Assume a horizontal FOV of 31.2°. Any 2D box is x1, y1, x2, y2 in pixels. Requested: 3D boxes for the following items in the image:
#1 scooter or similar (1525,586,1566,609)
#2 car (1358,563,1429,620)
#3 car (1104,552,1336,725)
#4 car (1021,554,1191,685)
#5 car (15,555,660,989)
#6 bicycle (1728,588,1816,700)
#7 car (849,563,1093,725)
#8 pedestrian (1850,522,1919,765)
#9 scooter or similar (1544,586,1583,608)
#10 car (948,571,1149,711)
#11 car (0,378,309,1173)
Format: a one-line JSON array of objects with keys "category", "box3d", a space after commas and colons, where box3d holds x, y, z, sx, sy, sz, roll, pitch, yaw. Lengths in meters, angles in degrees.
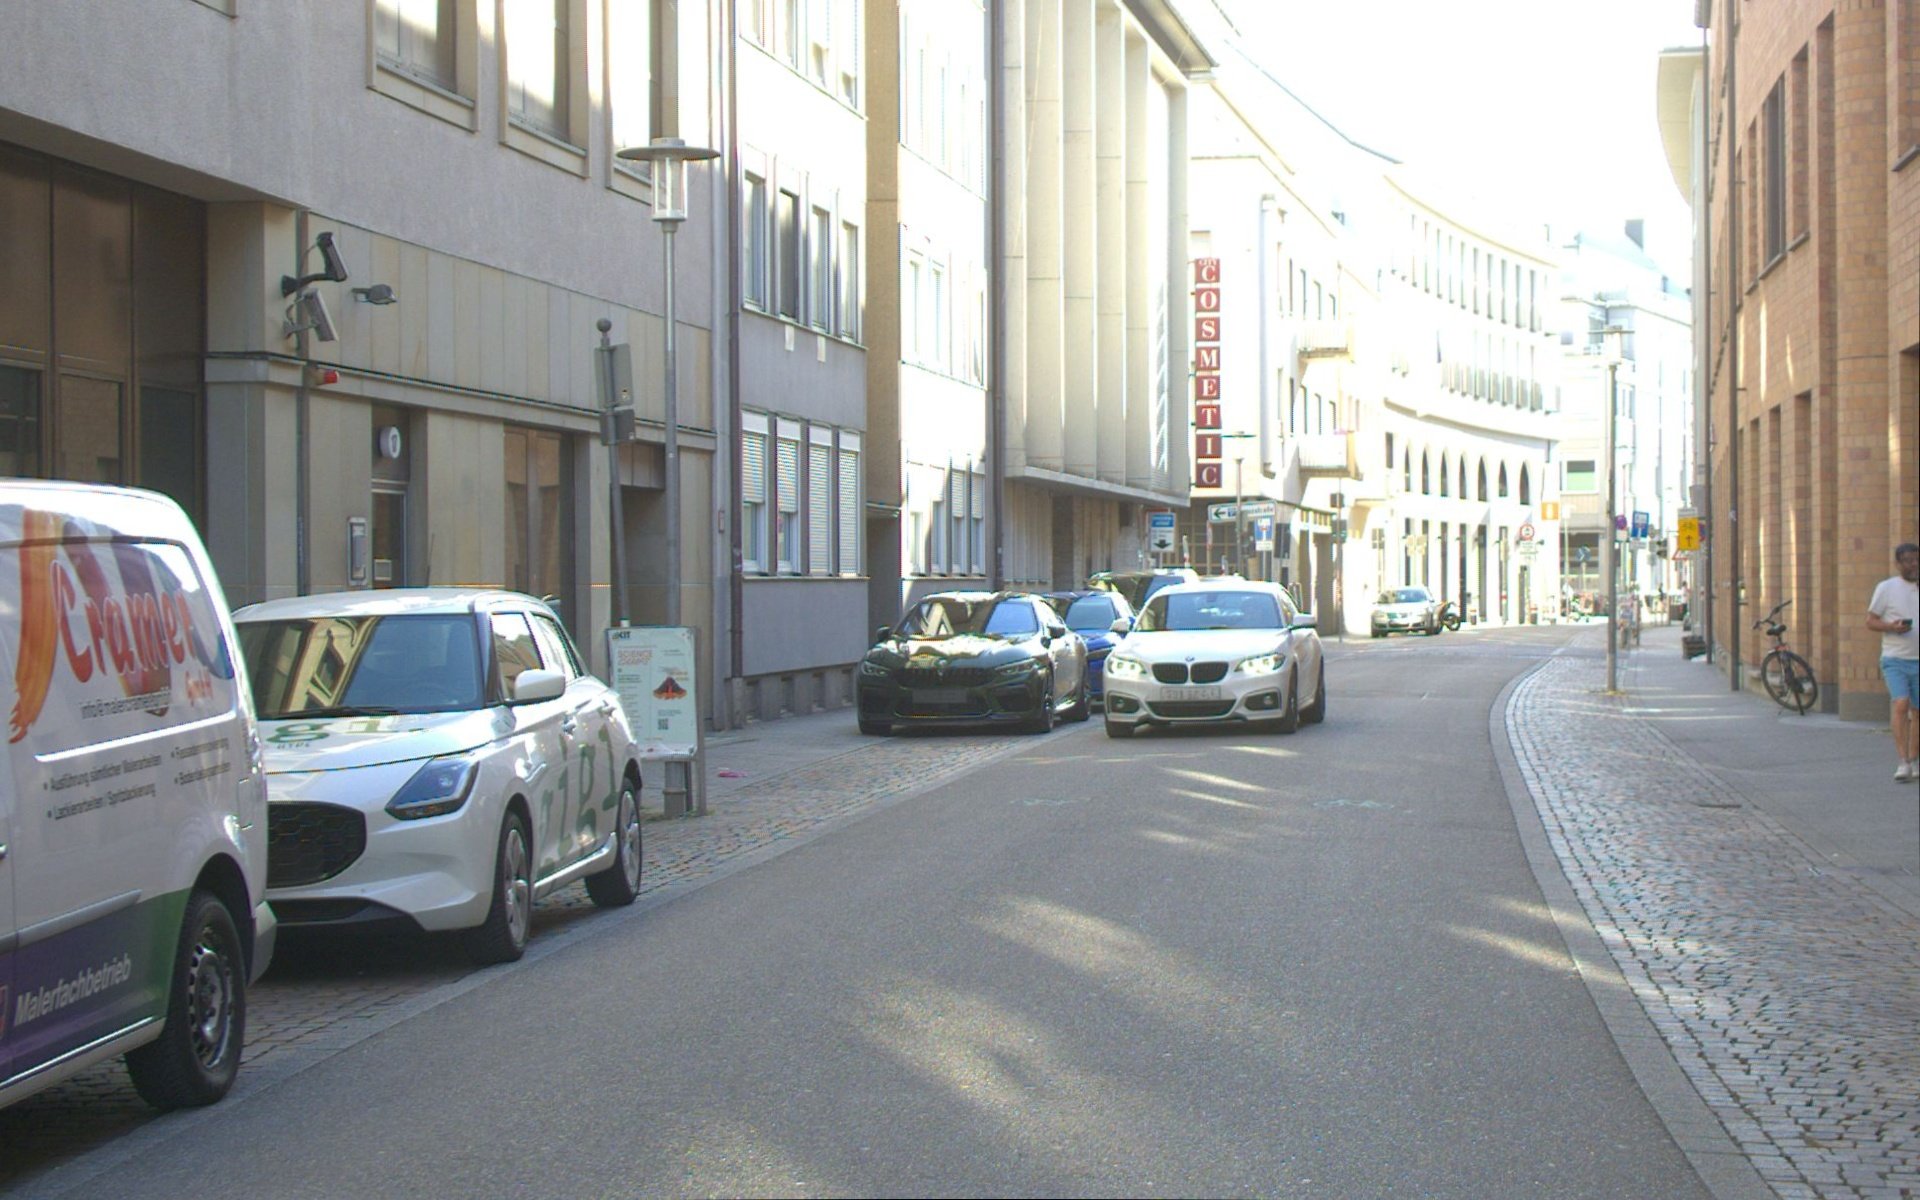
[{"category": "scooter or similar", "box3d": [23.728, -0.106, 139.282, 0.526, 0.925, 2.222, 0, 0, 41]}, {"category": "car", "box3d": [12.557, -0.245, 99.424, 1.737, 1.600, 3.531, 0, 0, 12]}, {"category": "car", "box3d": [2.545, 0.340, 32.809, 1.715, 1.512, 4.158, -1, 0, 11]}, {"category": "car", "box3d": [2.053, 0.254, 47.083, 1.890, 1.670, 4.552, -1, 0, 8]}, {"category": "car", "box3d": [-2.461, 0.634, 14.522, 1.670, 1.517, 3.775, -3, 0, 5]}, {"category": "bicycle", "box3d": [8.445, 0.440, 35.796, 0.550, 1.099, 1.982, -4, 0, 5]}, {"category": "car", "box3d": [0.192, 0.420, 35.315, 1.890, 1.525, 4.727, -1, 0, 8]}, {"category": "pedestrian", "box3d": [6.893, 0.297, 24.782, 0.760, 1.710, 0.821, -3, 0, 7]}, {"category": "scooter or similar", "box3d": [25.233, -0.126, 143.657, 0.526, 0.925, 2.222, 0, 0, 41]}, {"category": "car", "box3d": [1.104, 0.455, 40.549, 1.890, 1.525, 4.338, -1, 0, 8]}, {"category": "car", "box3d": [-3.184, 0.435, 8.215, 1.899, 1.851, 4.733, -2, 0, 5]}]
